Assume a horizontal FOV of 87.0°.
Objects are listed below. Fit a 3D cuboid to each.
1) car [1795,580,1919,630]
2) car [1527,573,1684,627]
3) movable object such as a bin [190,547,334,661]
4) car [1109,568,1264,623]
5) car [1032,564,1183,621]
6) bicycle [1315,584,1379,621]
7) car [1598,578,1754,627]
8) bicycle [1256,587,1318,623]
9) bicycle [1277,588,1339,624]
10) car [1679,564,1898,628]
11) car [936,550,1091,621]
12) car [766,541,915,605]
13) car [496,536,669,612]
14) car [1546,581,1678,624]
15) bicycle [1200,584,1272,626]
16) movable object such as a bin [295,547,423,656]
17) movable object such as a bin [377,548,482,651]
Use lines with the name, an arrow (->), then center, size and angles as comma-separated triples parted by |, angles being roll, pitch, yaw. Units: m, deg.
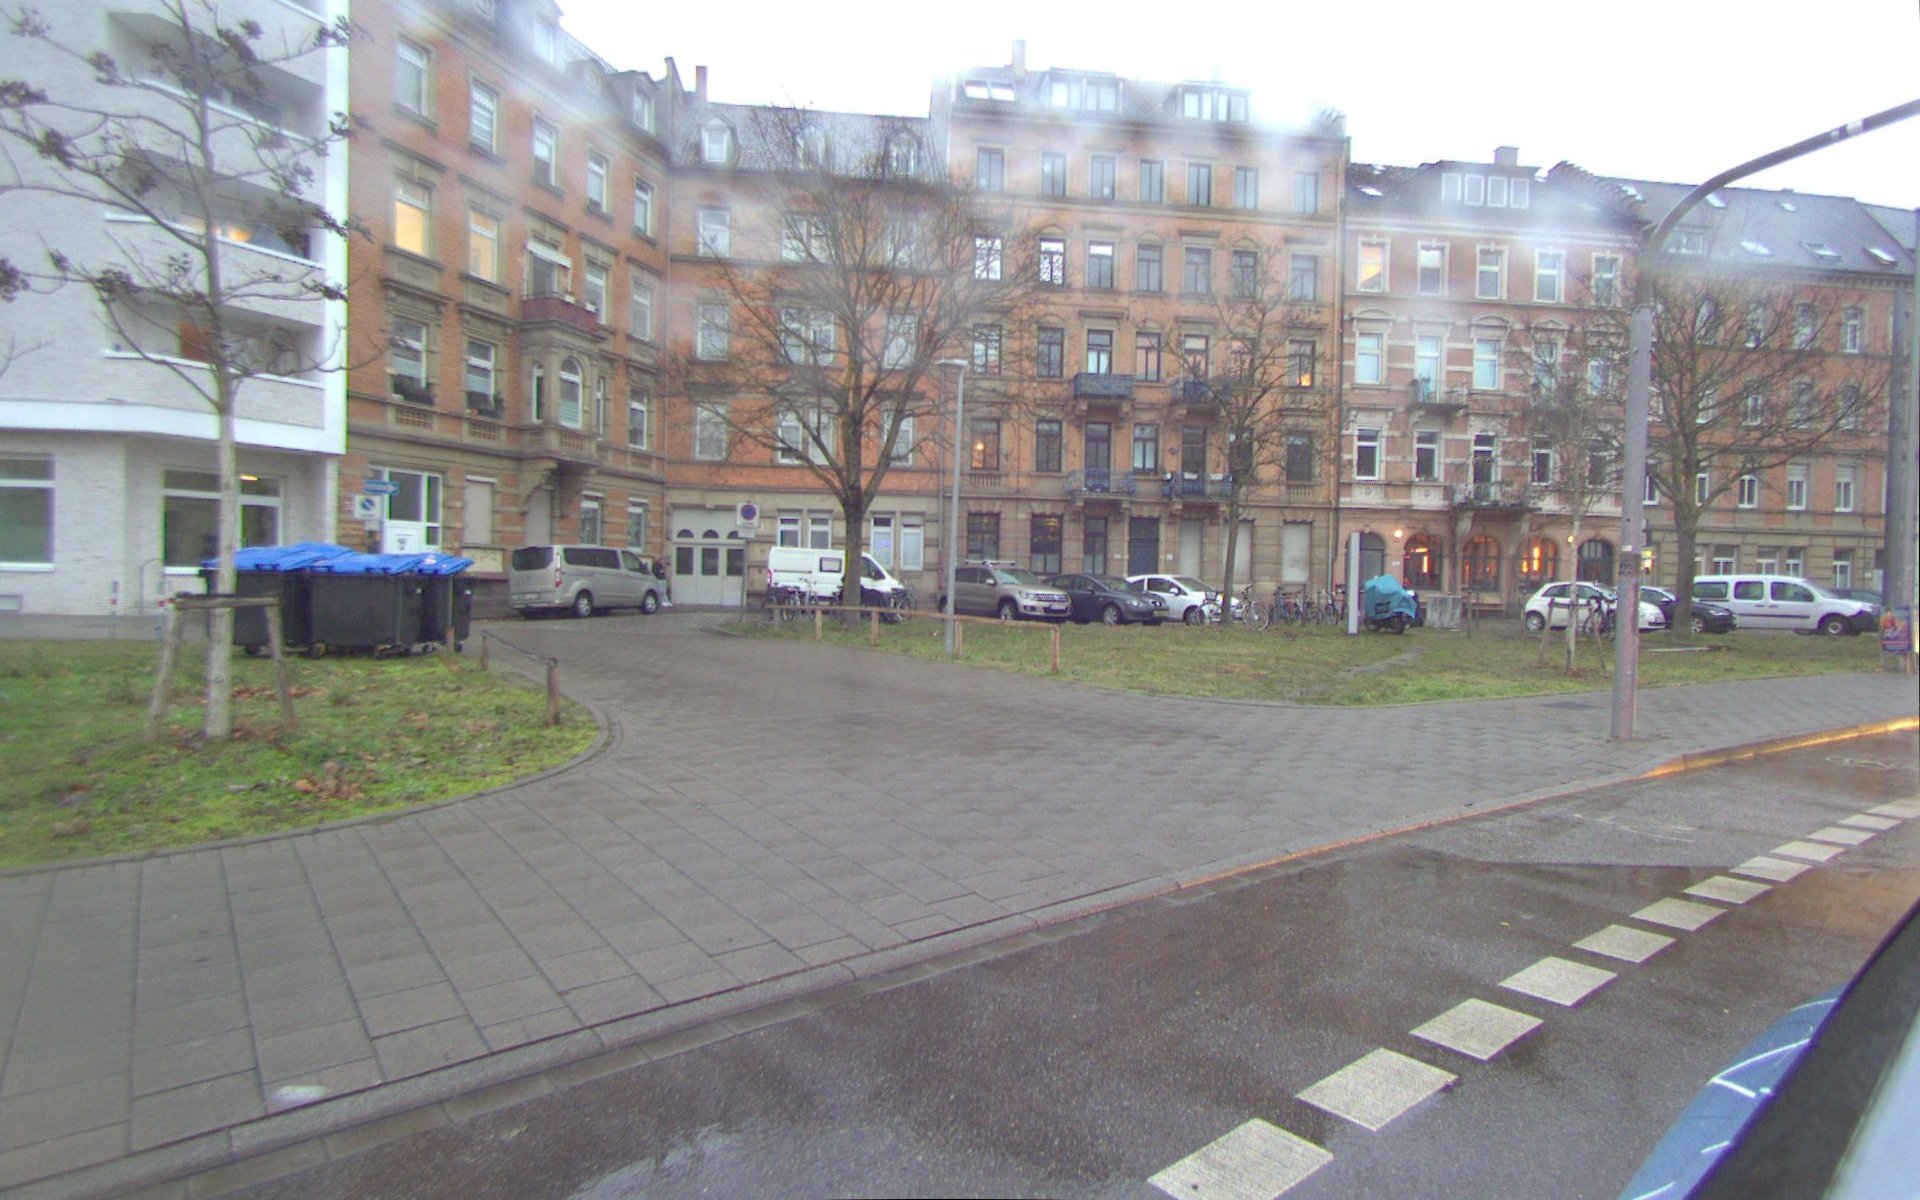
car -> 27.183, 0.188, 29.473 | 1.737, 1.250, 4.066 | 2, 3, -35
car -> 18.422, 0.006, 29.012 | 1.583, 1.461, 3.467 | 1, 0, -34
movable object such as a bin -> -9.646, 0.047, 14.046 | 1.303, 1.514, 1.032 | 1, 1, -4
car -> 6.092, -0.155, 27.535 | 1.669, 1.353, 3.852 | 0, 1, -41
car -> 3.831, -0.190, 26.633 | 1.649, 1.372, 3.737 | 2, 0, -42
bicycle -> 11.231, 0.058, 29.430 | 0.613, 0.978, 2.176 | 1, 2, -13
car -> 20.993, 0.051, 29.746 | 1.634, 1.368, 3.430 | 1, 0, -39
bicycle -> 9.400, 0.141, 29.172 | 0.613, 0.978, 2.175 | 3, -1, -13
bicycle -> 10.053, 0.174, 29.332 | 0.613, 0.978, 2.175 | 3, -1, -13
car -> 24.115, -0.181, 29.635 | 1.745, 1.611, 4.663 | 0, 3, -37
car -> 1.321, -0.438, 26.465 | 1.908, 1.656, 4.000 | -1, 3, -37
car -> -4.105, -0.926, 34.471 | 4.883, 2.038, 2.004 | 1, 2, -10
car -> -10.518, -0.643, 28.619 | 1.976, 1.943, 4.715 | -1, -1, 21
car -> 24.305, 0.117, 37.794 | 3.967, 1.520, 1.740 | 1, -1, -9
bicycle -> 6.635, 0.107, 24.418 | 1.628, 0.948, 0.512 | 2, 1, 15
movable object such as a bin -> -8.377, 0.000, 14.159 | 1.200, 1.433, 1.018 | 1, 2, -3
movable object such as a bin -> -8.041, 0.002, 15.386 | 1.022, 1.509, 1.035 | 0, -1, 6
